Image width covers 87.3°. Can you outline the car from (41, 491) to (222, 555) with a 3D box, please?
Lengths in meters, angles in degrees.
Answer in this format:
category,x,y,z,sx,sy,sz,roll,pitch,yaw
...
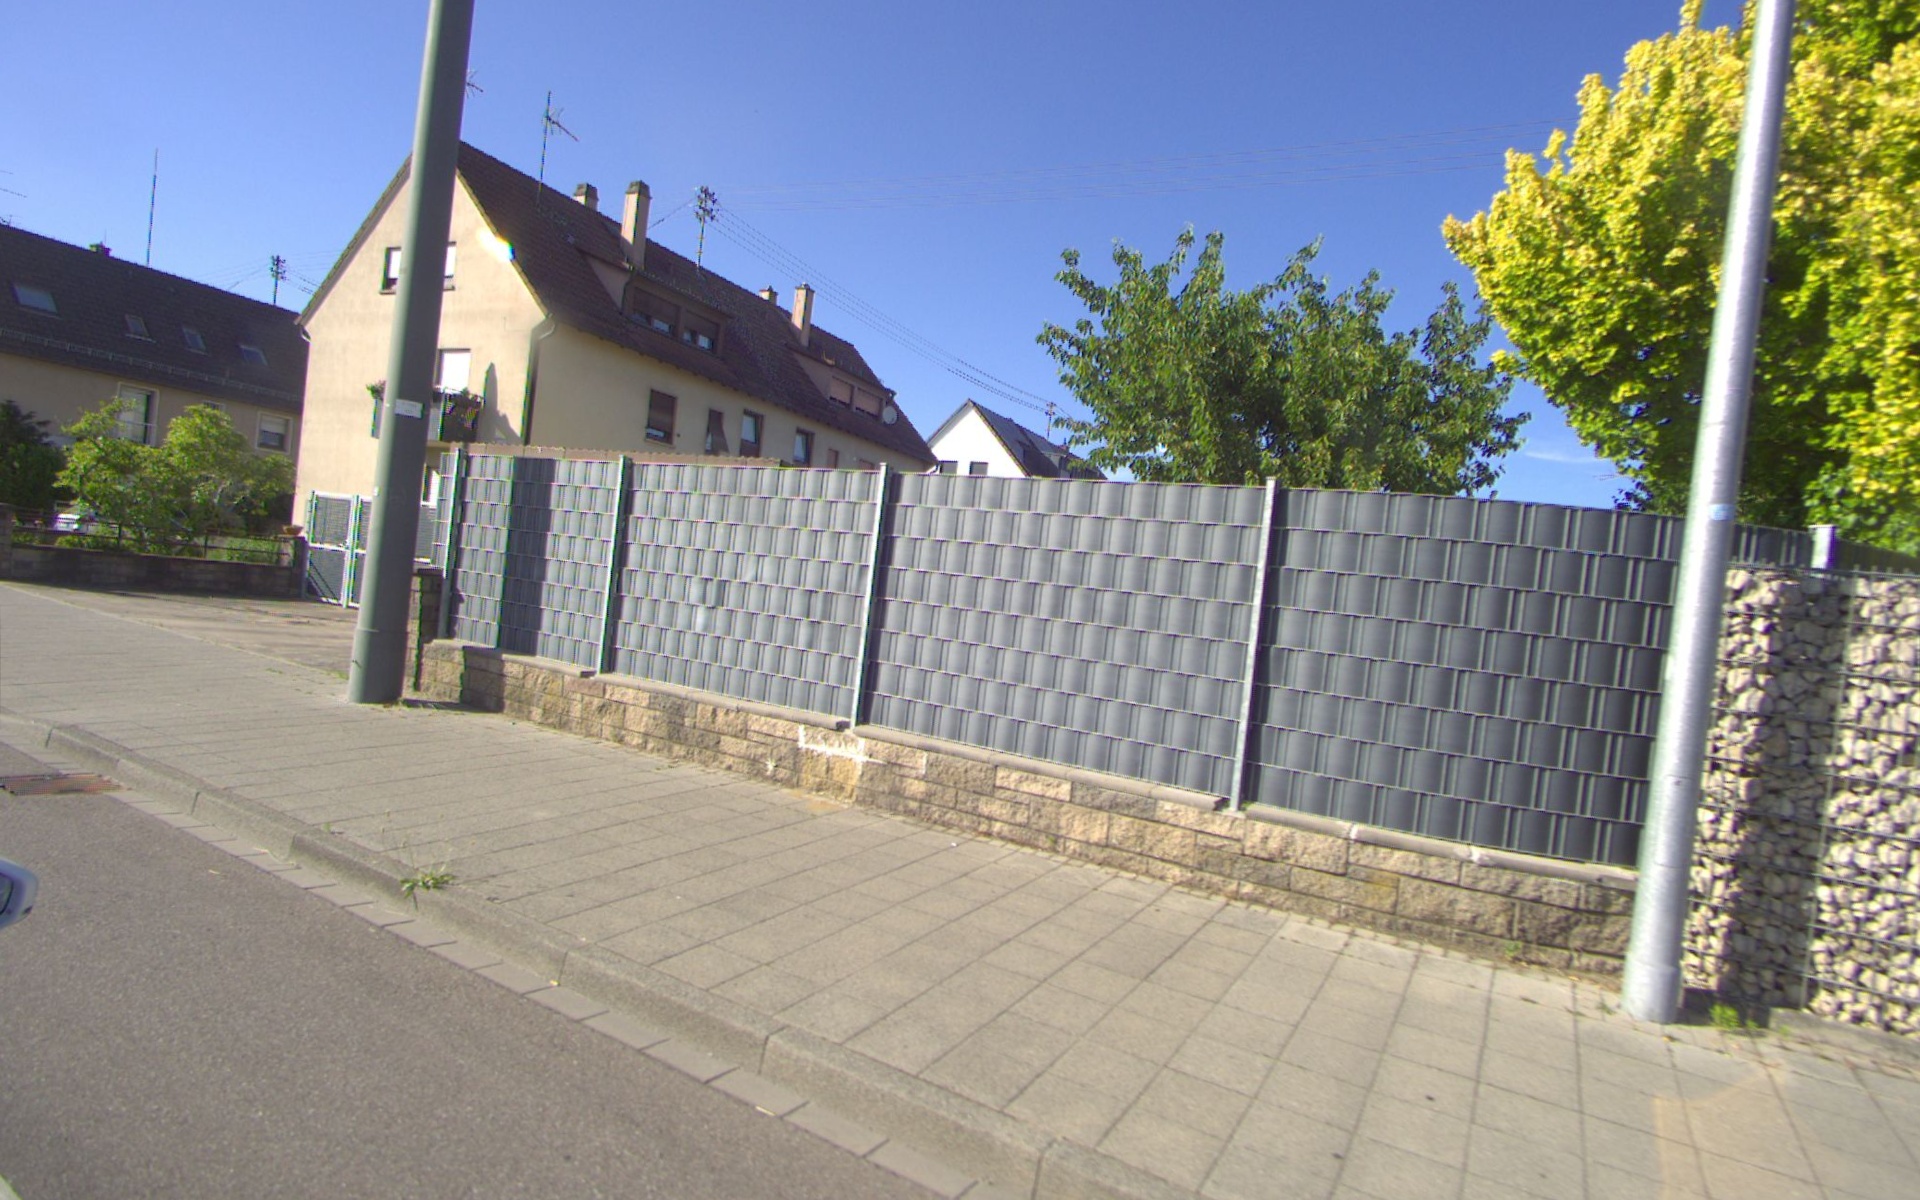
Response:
category,x,y,z,sx,sy,sz,roll,pitch,yaw
car,-26.897,-2.467,32.822,1.770,1.530,4.147,5,0,26
